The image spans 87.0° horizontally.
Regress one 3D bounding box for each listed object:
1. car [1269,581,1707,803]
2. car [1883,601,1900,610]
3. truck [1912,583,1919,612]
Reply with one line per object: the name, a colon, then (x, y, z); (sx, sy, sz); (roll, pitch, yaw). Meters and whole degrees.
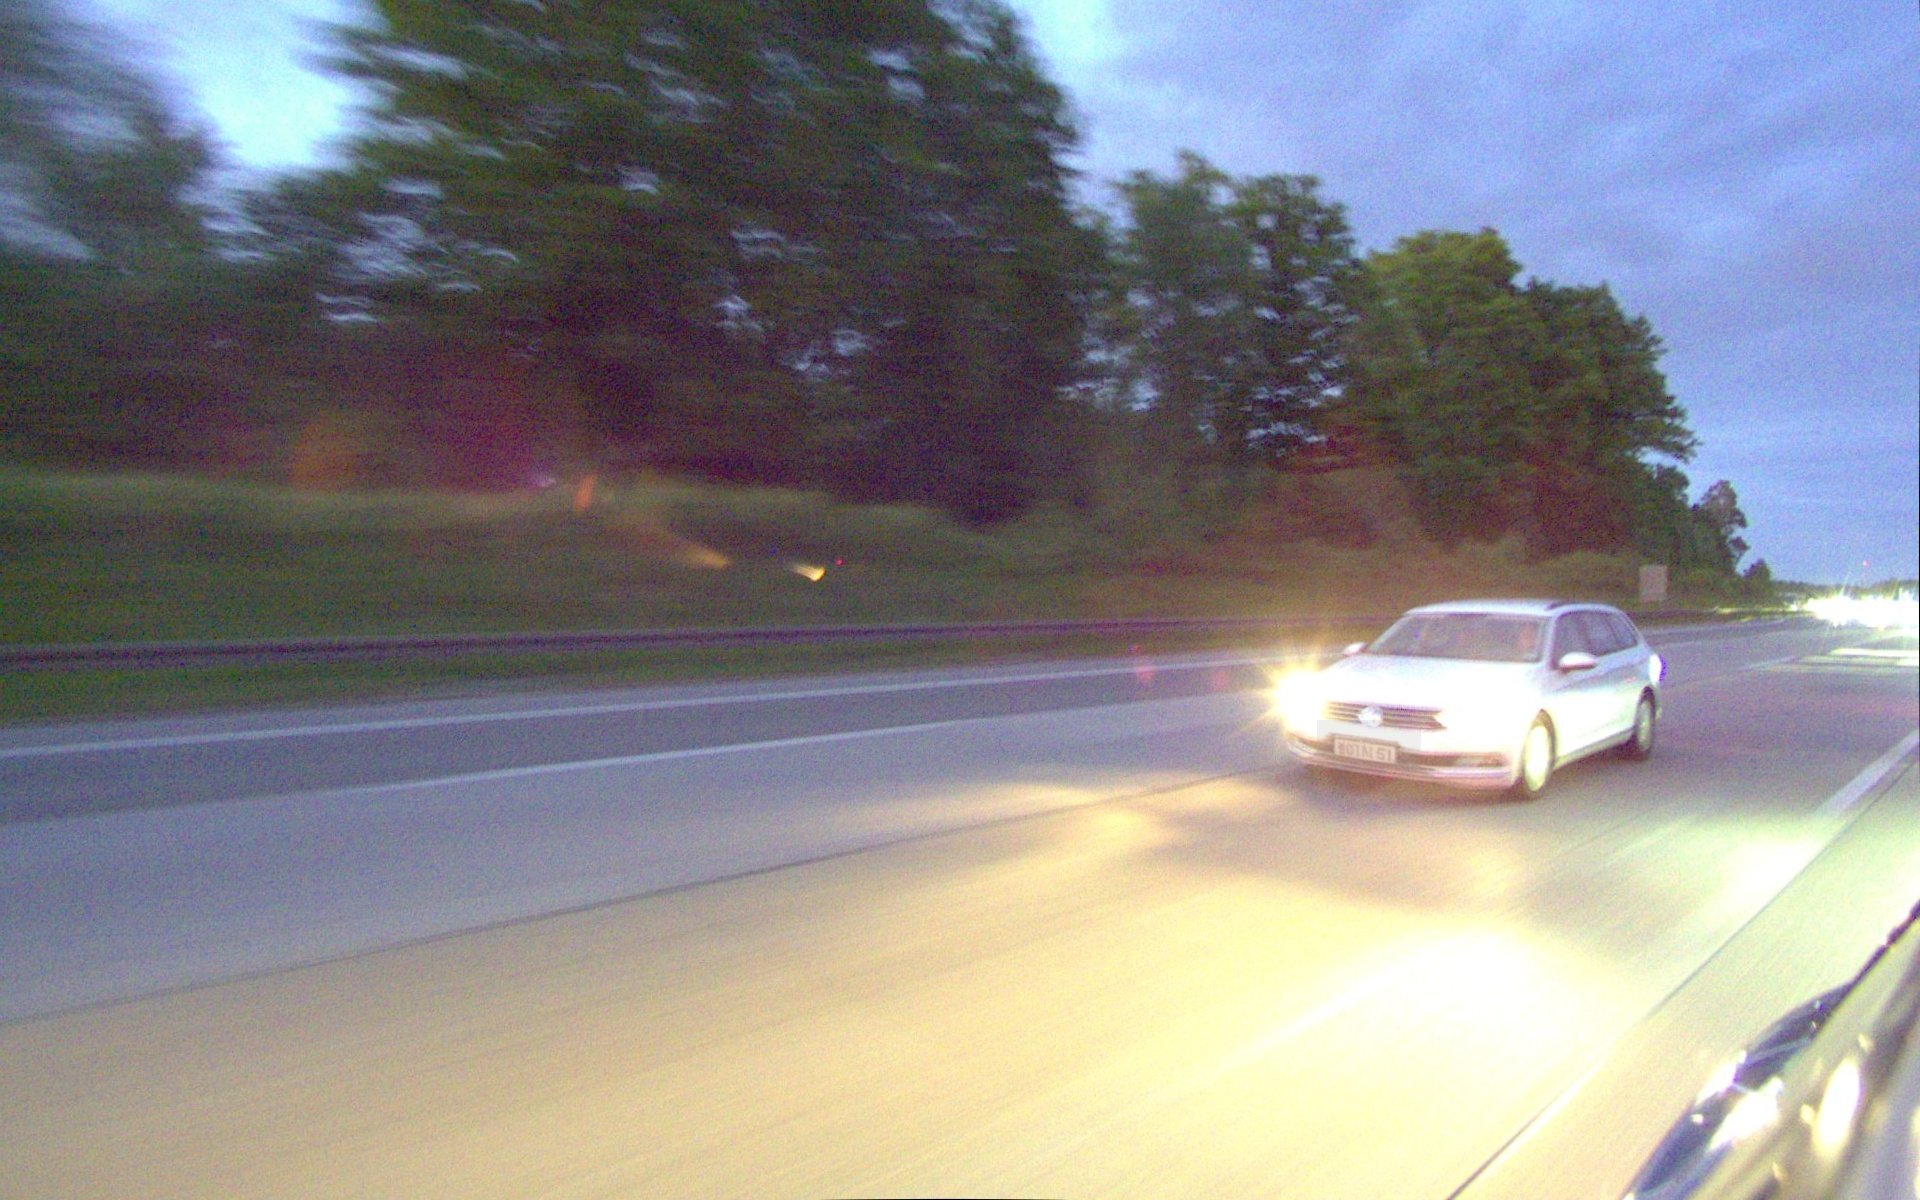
car: (4.973, 0.642, 9.122); (5.042, 1.485, 1.812); (1, 0, -41)
car: (153.041, 0.880, 166.229); (3.976, 1.398, 1.816); (0, 0, -44)
truck: (139.153, -0.346, 145.365); (10.372, 4.062, 3.139); (1, 0, -45)
